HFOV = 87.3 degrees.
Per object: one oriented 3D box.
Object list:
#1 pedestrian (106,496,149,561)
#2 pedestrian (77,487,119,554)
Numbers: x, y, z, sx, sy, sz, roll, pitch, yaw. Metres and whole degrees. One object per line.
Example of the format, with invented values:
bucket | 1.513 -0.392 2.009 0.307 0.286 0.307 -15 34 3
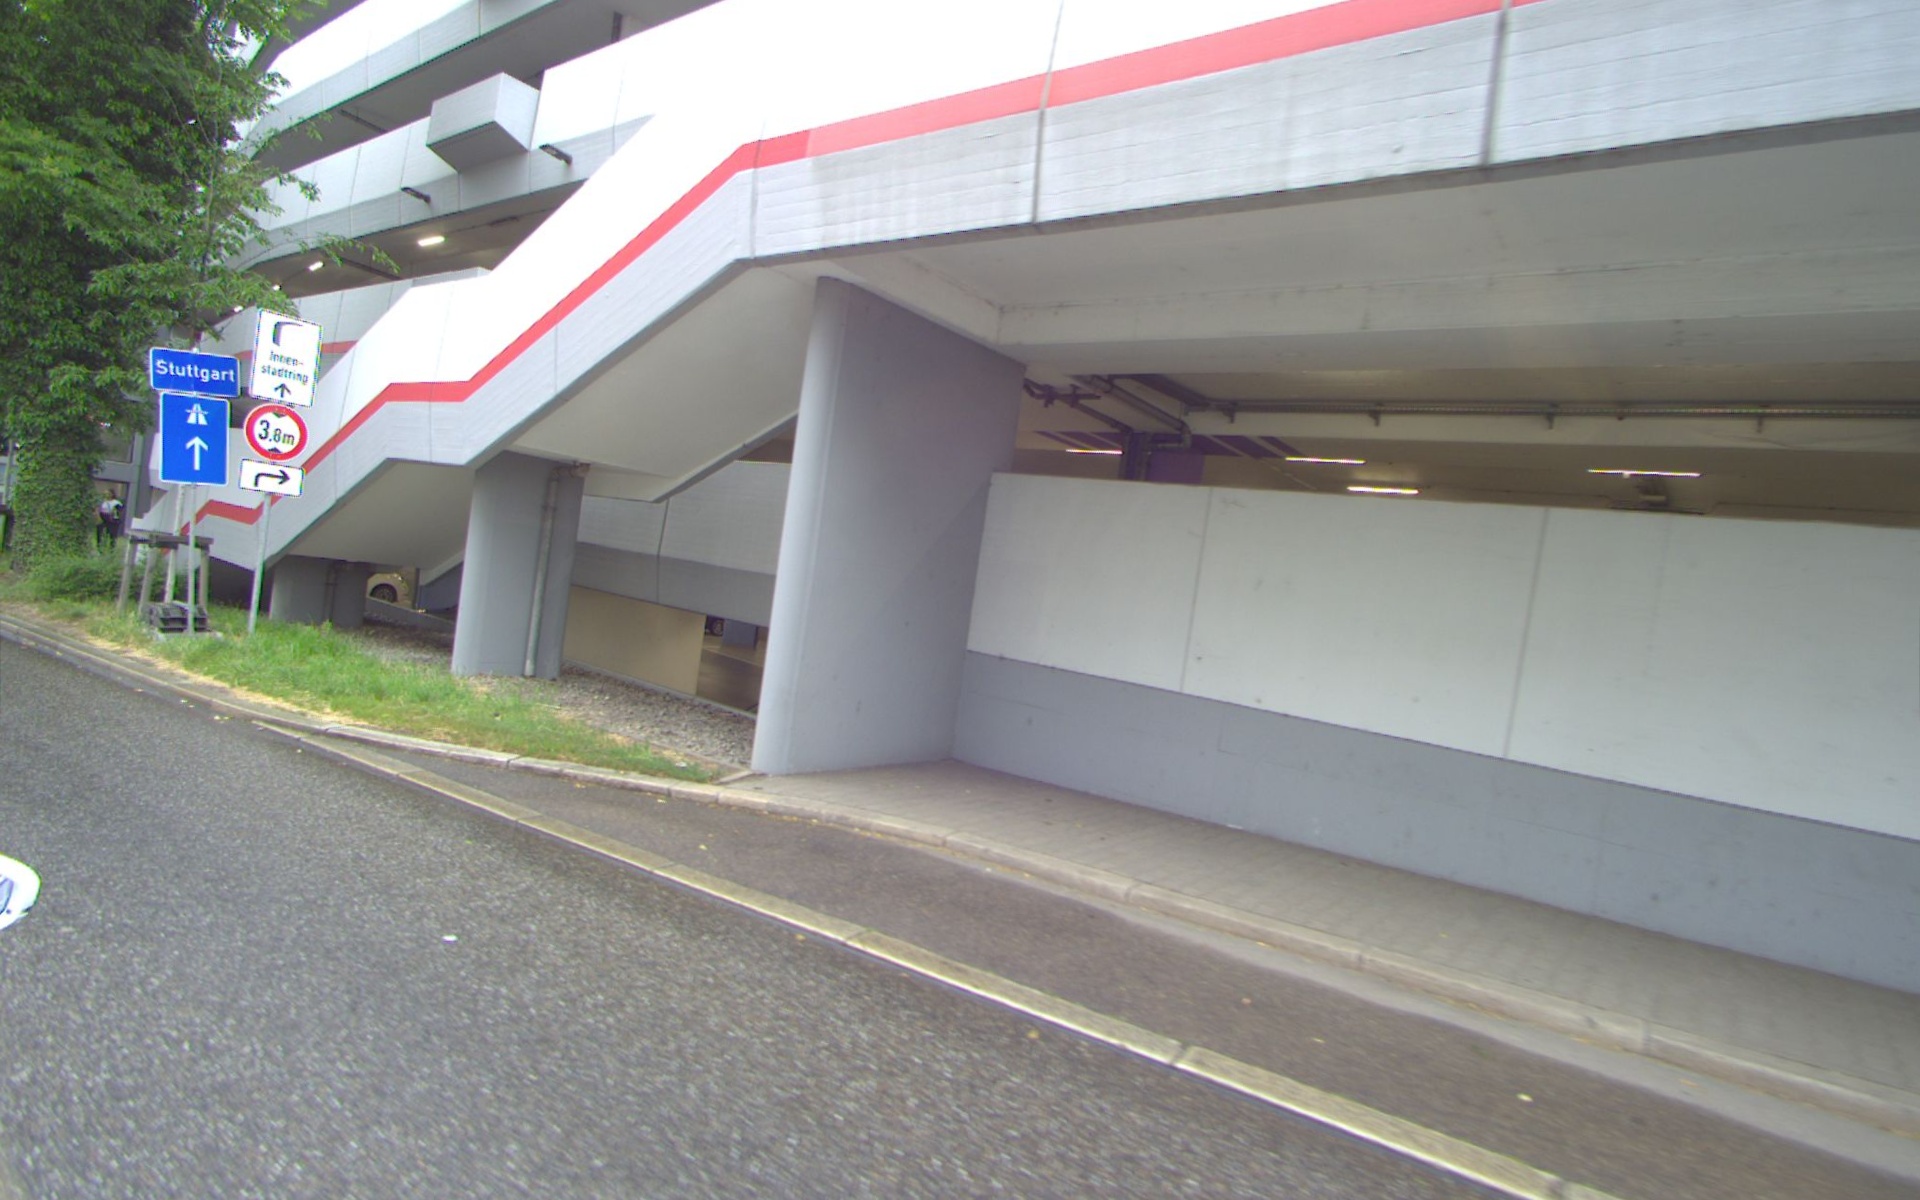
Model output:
pedestrian | -20.830 -1.794 25.173 0.496 1.519 0.582 6 -1 36
pedestrian | -21.161 -1.950 24.710 0.481 1.550 0.551 6 -1 38
